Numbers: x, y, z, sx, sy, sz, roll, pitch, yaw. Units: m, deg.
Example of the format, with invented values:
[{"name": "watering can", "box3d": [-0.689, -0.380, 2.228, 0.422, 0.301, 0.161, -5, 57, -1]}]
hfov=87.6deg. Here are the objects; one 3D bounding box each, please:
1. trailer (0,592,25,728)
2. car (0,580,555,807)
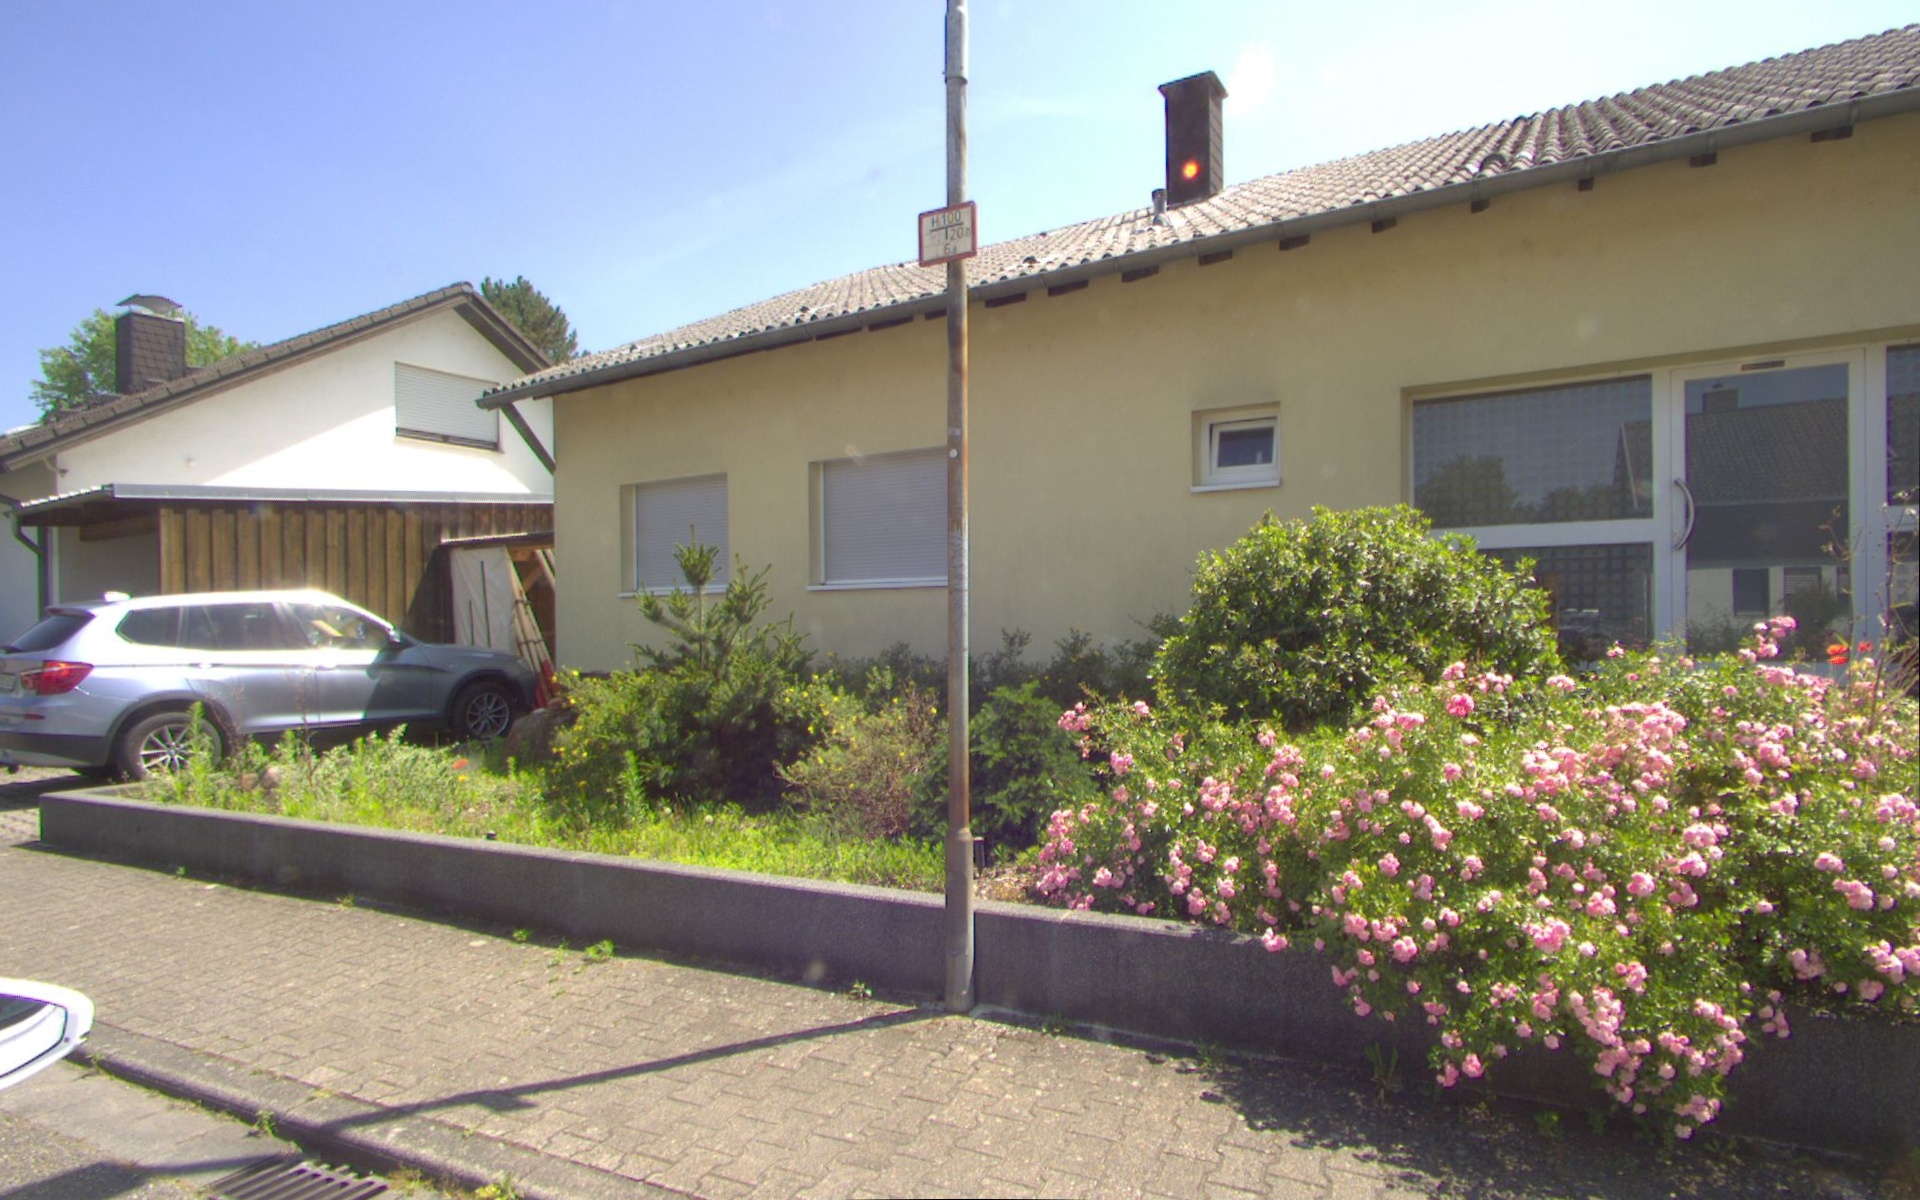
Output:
[{"name": "trailer", "box3d": [-13.634, 0.759, 12.855, 3.249, 1.695, 1.583, 0, 1, 32]}, {"name": "car", "box3d": [-6.615, 0.687, 9.976, 1.686, 1.725, 4.614, -1, 1, 34]}]
